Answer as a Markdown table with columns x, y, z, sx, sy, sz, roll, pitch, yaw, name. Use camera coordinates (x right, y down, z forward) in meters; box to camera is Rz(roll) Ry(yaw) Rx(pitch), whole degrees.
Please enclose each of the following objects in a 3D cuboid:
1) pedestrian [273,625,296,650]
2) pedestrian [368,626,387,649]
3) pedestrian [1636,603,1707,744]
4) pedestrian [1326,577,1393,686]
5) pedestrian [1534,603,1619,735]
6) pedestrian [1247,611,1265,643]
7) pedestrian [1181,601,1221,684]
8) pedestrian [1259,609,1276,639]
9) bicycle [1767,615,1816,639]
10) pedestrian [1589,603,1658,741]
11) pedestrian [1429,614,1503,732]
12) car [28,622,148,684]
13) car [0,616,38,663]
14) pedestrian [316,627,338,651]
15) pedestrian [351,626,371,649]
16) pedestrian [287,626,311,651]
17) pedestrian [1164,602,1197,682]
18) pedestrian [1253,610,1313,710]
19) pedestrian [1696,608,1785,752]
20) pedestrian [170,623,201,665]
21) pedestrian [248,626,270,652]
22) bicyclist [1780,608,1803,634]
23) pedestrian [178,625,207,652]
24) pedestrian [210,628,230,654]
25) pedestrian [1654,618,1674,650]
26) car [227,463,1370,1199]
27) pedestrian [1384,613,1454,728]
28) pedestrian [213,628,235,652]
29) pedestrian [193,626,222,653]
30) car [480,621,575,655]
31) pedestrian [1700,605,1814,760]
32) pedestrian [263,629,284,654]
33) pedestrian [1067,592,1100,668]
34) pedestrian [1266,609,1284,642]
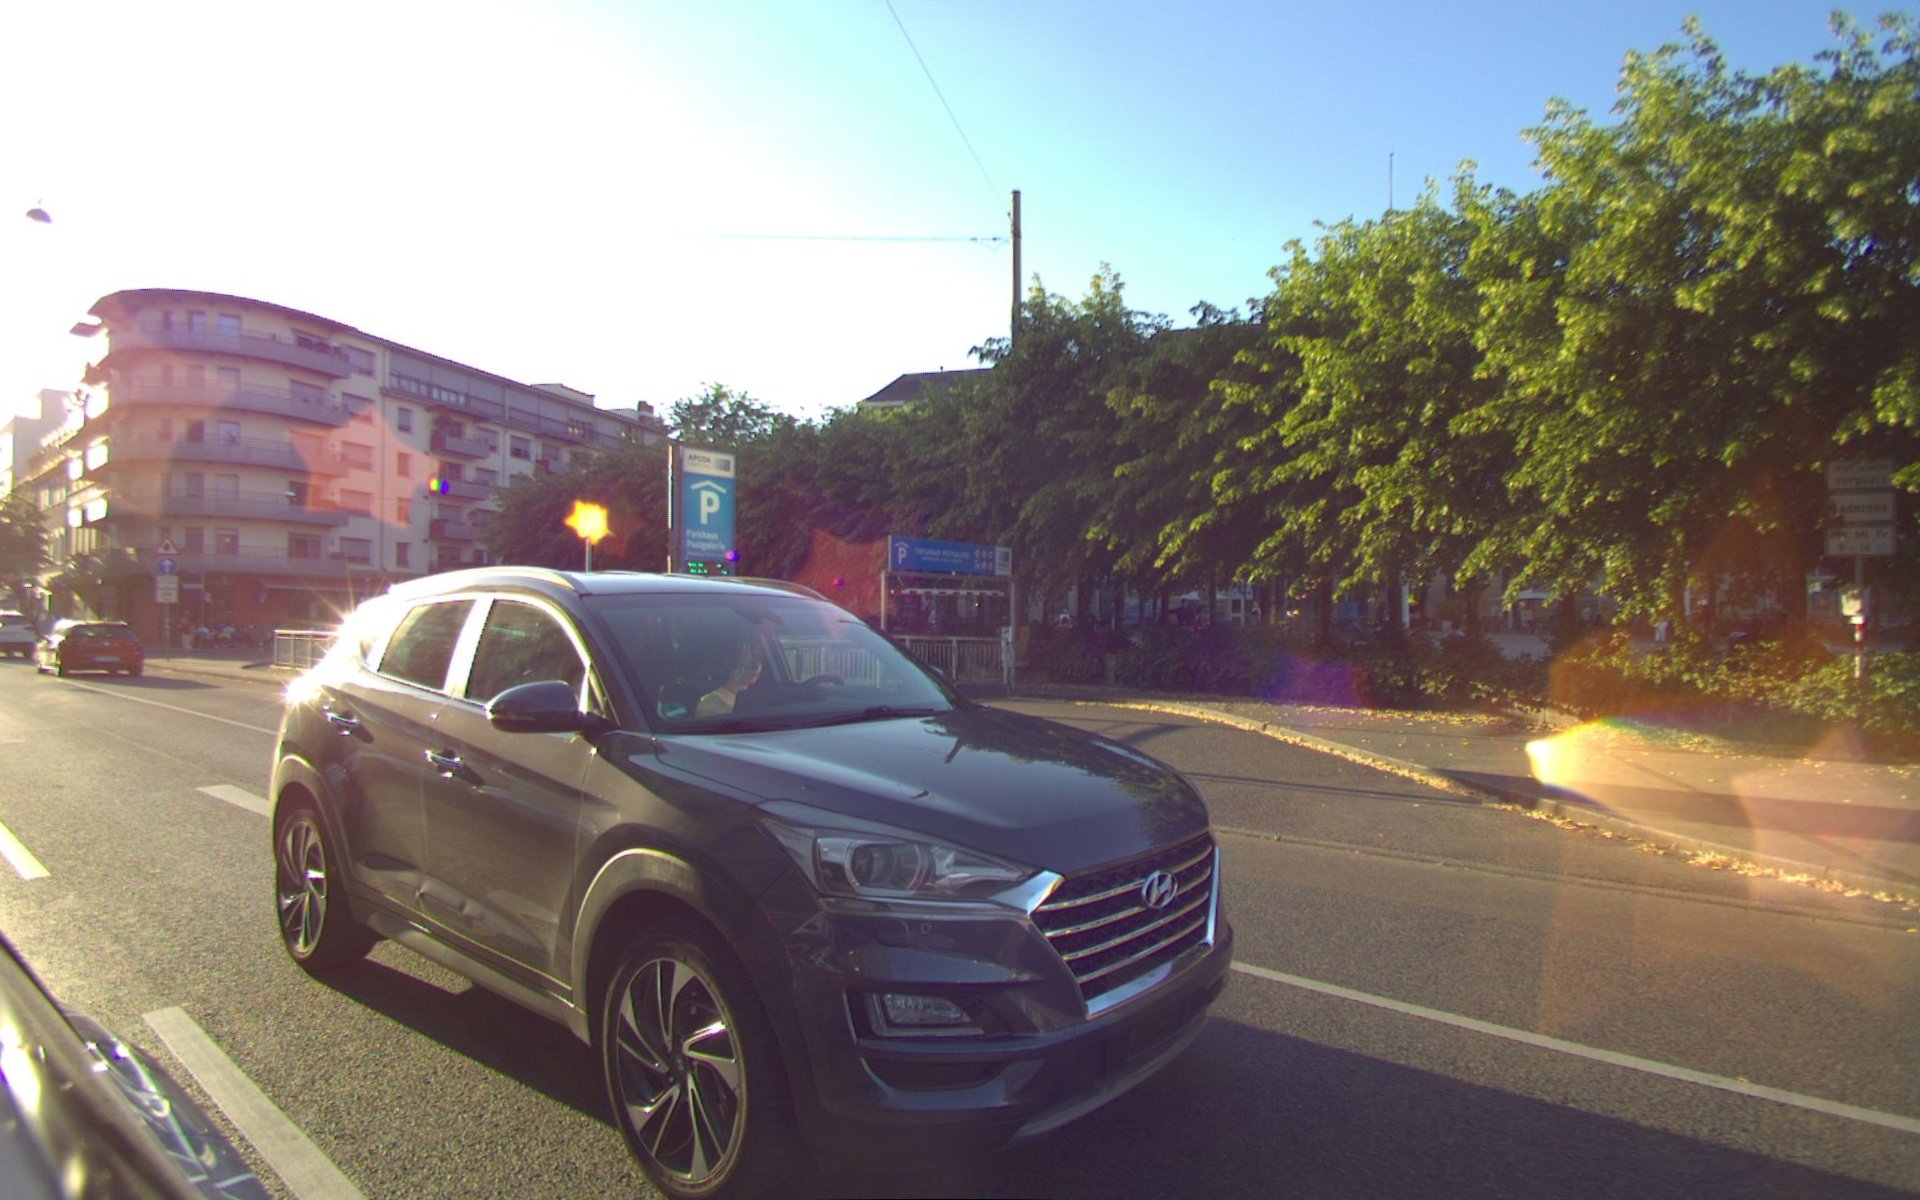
| x | y | z | sx | sy | sz | roll | pitch | yaw | name |
| --- | --- | --- | --- | --- | --- | --- | --- | --- | --- |
| -36.971 | 2.046 | 55.419 | 0.814 | 1.332 | 0.684 | -1 | -1 | 17 | pedestrian |
| -34.555 | 2.233 | 60.044 | 0.721 | 1.332 | 0.891 | 0 | -1 | -10 | pedestrian |
| 10.701 | 1.070 | 15.218 | 0.739 | 2.029 | 0.866 | -1 | -1 | 43 | pedestrian |
| 7.590 | 0.587 | 19.262 | 0.890 | 2.029 | 0.741 | 0 | -1 | -22 | pedestrian |
| 9.861 | 1.074 | 16.191 | 0.890 | 2.029 | 0.741 | 0 | -1 | -22 | pedestrian |
| 12.886 | 1.157 | 44.068 | 0.651 | 1.386 | 0.656 | -1 | -1 | 27 | pedestrian |
| 5.988 | 1.036 | 25.154 | 0.736 | 2.029 | 0.897 | -1 | -1 | 29 | pedestrian |
| 14.067 | 1.094 | 46.261 | 0.651 | 1.386 | 0.515 | -1 | -1 | 27 | pedestrian |
| 45.578 | 1.479 | 55.499 | 2.013 | 1.270 | 0.577 | 0 | 0 | 18 | bicycle |
| 10.167 | 1.074 | 15.510 | 0.739 | 2.029 | 0.754 | -1 | -1 | 43 | pedestrian |
| 8.954 | 1.259 | 17.912 | 0.890 | 2.029 | 0.741 | 0 | -1 | -22 | pedestrian |
| -23.254 | 1.361 | 26.962 | 3.954 | 1.477 | 1.768 | 0 | -2 | 40 | car |
| -35.426 | 1.429 | 36.873 | 4.170 | 1.644 | 1.856 | -2 | -4 | 36 | car |
| -35.532 | 2.170 | 56.817 | 0.884 | 1.332 | 0.726 | -1 | -1 | 26 | pedestrian |
| -35.458 | 2.230 | 59.904 | 0.721 | 1.332 | 0.891 | 0 | -1 | -10 | pedestrian |
| -35.769 | 2.098 | 54.768 | 0.884 | 1.332 | 0.726 | -1 | -1 | 28 | pedestrian |
| 5.724 | 1.086 | 26.211 | 0.733 | 2.029 | 0.901 | -1 | -1 | 18 | pedestrian |
| 6.718 | 1.232 | 21.049 | 0.890 | 2.029 | 0.741 | 0 | -1 | -22 | pedestrian |
| 11.461 | 1.142 | 14.890 | 0.852 | 2.029 | 0.898 | -1 | -1 | 28 | pedestrian |
| -28.884 | 1.634 | 37.745 | 0.668 | 1.529 | 0.677 | -1 | -1 | -1 | pedestrian |
| -36.901 | 2.038 | 53.262 | 0.888 | 1.332 | 0.723 | -1 | -1 | 40 | pedestrian |
| 45.594 | 1.147 | 55.478 | 0.764 | 1.459 | 0.637 | 0 | 0 | 18 | bicyclist |
| -38.033 | 1.889 | 50.156 | 0.726 | 1.332 | 0.885 | -1 | -1 | 14 | pedestrian |
| -37.969 | 2.096 | 51.919 | 0.611 | 1.332 | 0.669 | -1 | -1 | 40 | pedestrian |
| 24.119 | 1.157 | 34.676 | 0.528 | 1.071 | 0.457 | -3 | -1 | 35 | pedestrian |
| -1.015 | 0.678 | 3.872 | 4.446 | 1.702 | 1.853 | -1 | -2 | 40 | car |
| 8.368 | 1.262 | 18.468 | 0.890 | 2.029 | 0.742 | 0 | -1 | -25 | pedestrian |
| -37.267 | 2.009 | 51.240 | 0.875 | 1.201 | 0.734 | 0 | -1 | -40 | pedestrian |
| -37.133 | 1.935 | 49.948 | 0.725 | 1.332 | 0.886 | -1 | -1 | 10 | pedestrian |
| -21.639 | 1.897 | 50.676 | 3.959 | 1.664 | 1.992 | -1 | -1 | 13 | car |
| 10.935 | 1.096 | 13.905 | 0.890 | 2.029 | 0.859 | 0 | -1 | -22 | pedestrian |
| -36.489 | 2.198 | 53.803 | 0.888 | 1.332 | 0.723 | -1 | -1 | 39 | pedestrian |
| 3.382 | 0.822 | 27.720 | 0.733 | 2.029 | 0.901 | -1 | -1 | 18 | pedestrian |
| 13.536 | 1.096 | 43.533 | 0.651 | 1.386 | 0.515 | -1 | -1 | 27 | pedestrian |
